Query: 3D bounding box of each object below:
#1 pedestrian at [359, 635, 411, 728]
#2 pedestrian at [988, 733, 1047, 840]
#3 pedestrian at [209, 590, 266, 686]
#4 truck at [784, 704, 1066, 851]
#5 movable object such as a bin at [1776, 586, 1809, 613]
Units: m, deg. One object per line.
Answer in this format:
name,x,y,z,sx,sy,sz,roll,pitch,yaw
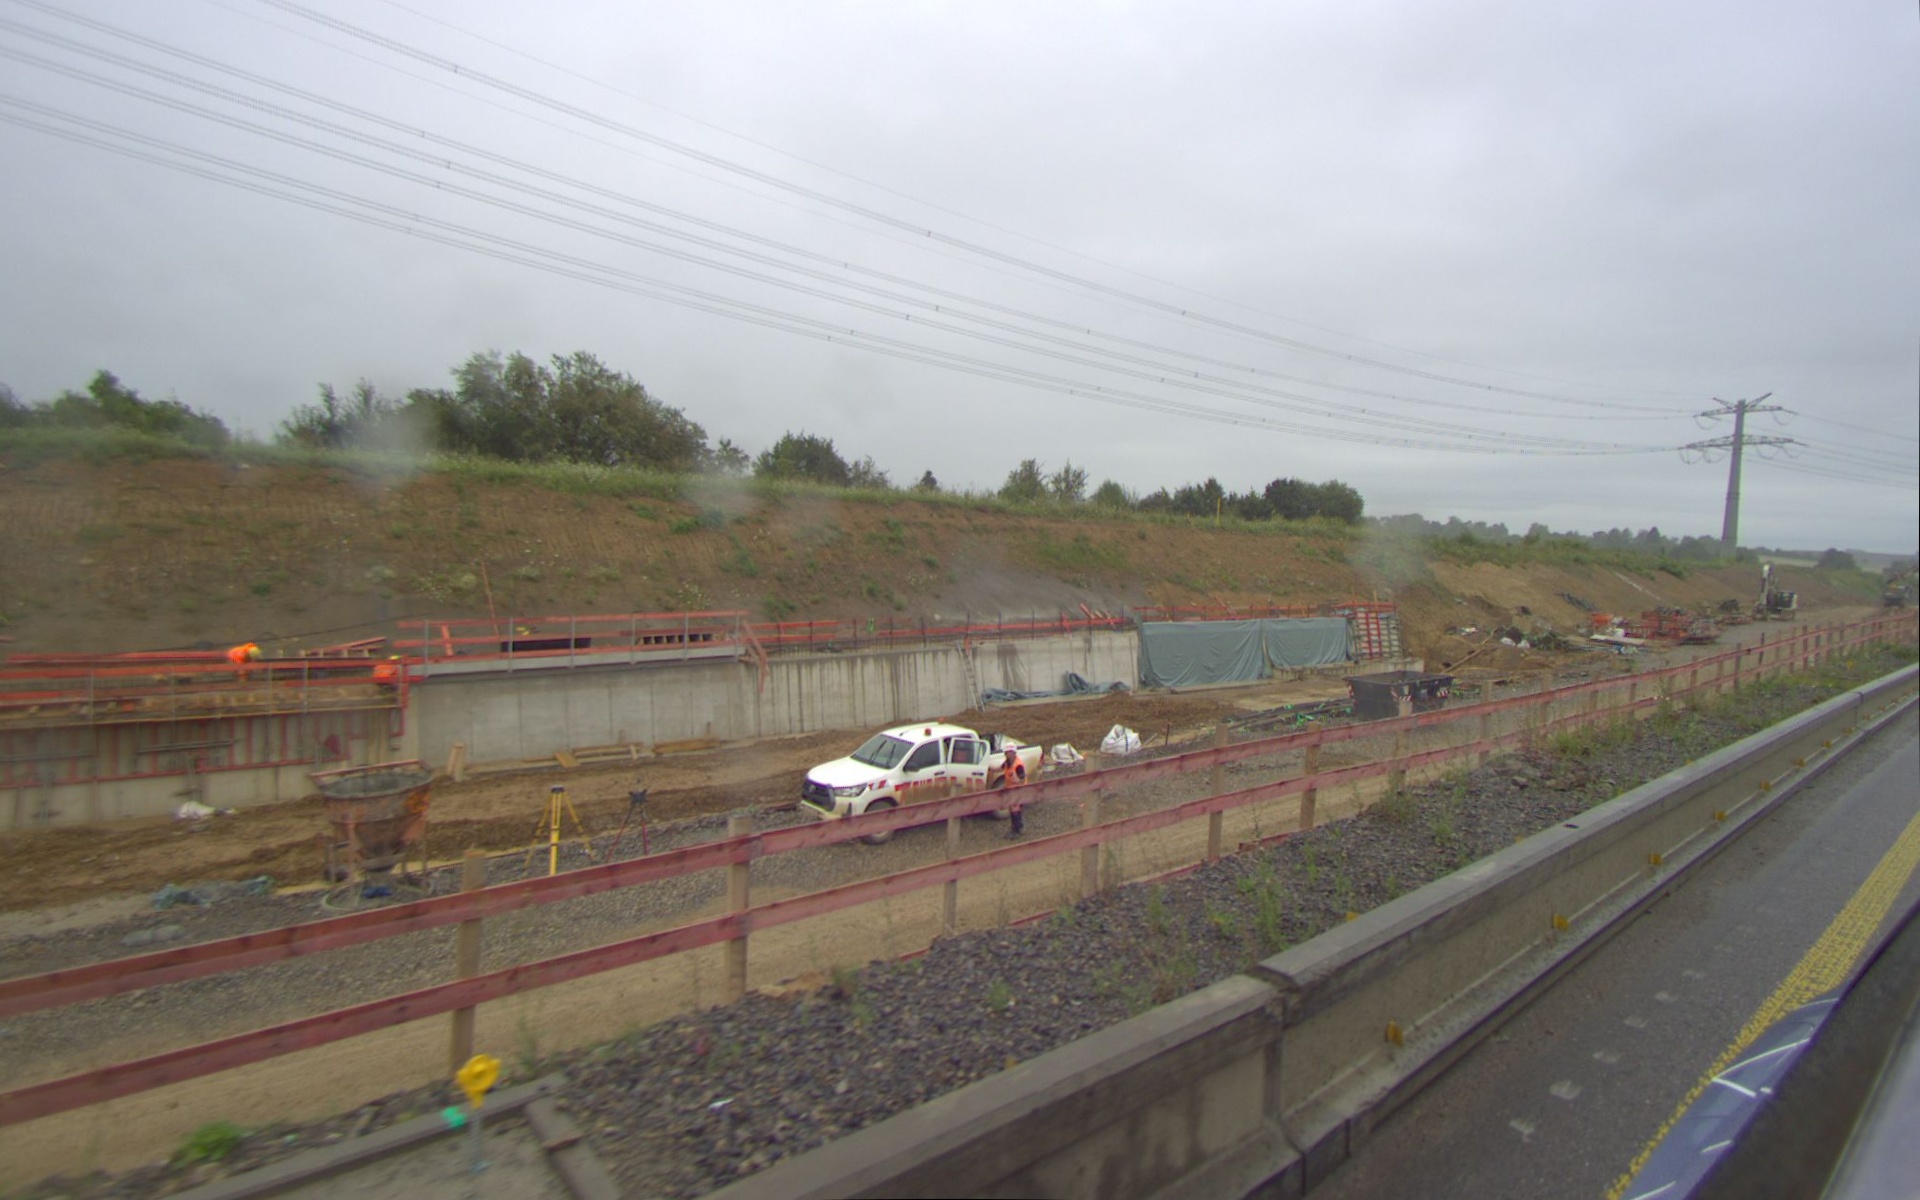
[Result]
pedestrian,-14.568,2.046,25.636,0.987,2.260,0.917,-1,-3,-36
pedestrian,1.067,3.471,18.973,0.917,1.821,0.812,1,2,-10
pedestrian,-17.629,0.930,24.677,0.989,2.275,0.916,-1,-3,-43
truck,-0.541,3.343,20.033,5.683,1.894,1.767,-1,3,-40
movable object such as a bin,87.747,-0.112,106.674,3.933,2.753,2.248,-1,1,-43
